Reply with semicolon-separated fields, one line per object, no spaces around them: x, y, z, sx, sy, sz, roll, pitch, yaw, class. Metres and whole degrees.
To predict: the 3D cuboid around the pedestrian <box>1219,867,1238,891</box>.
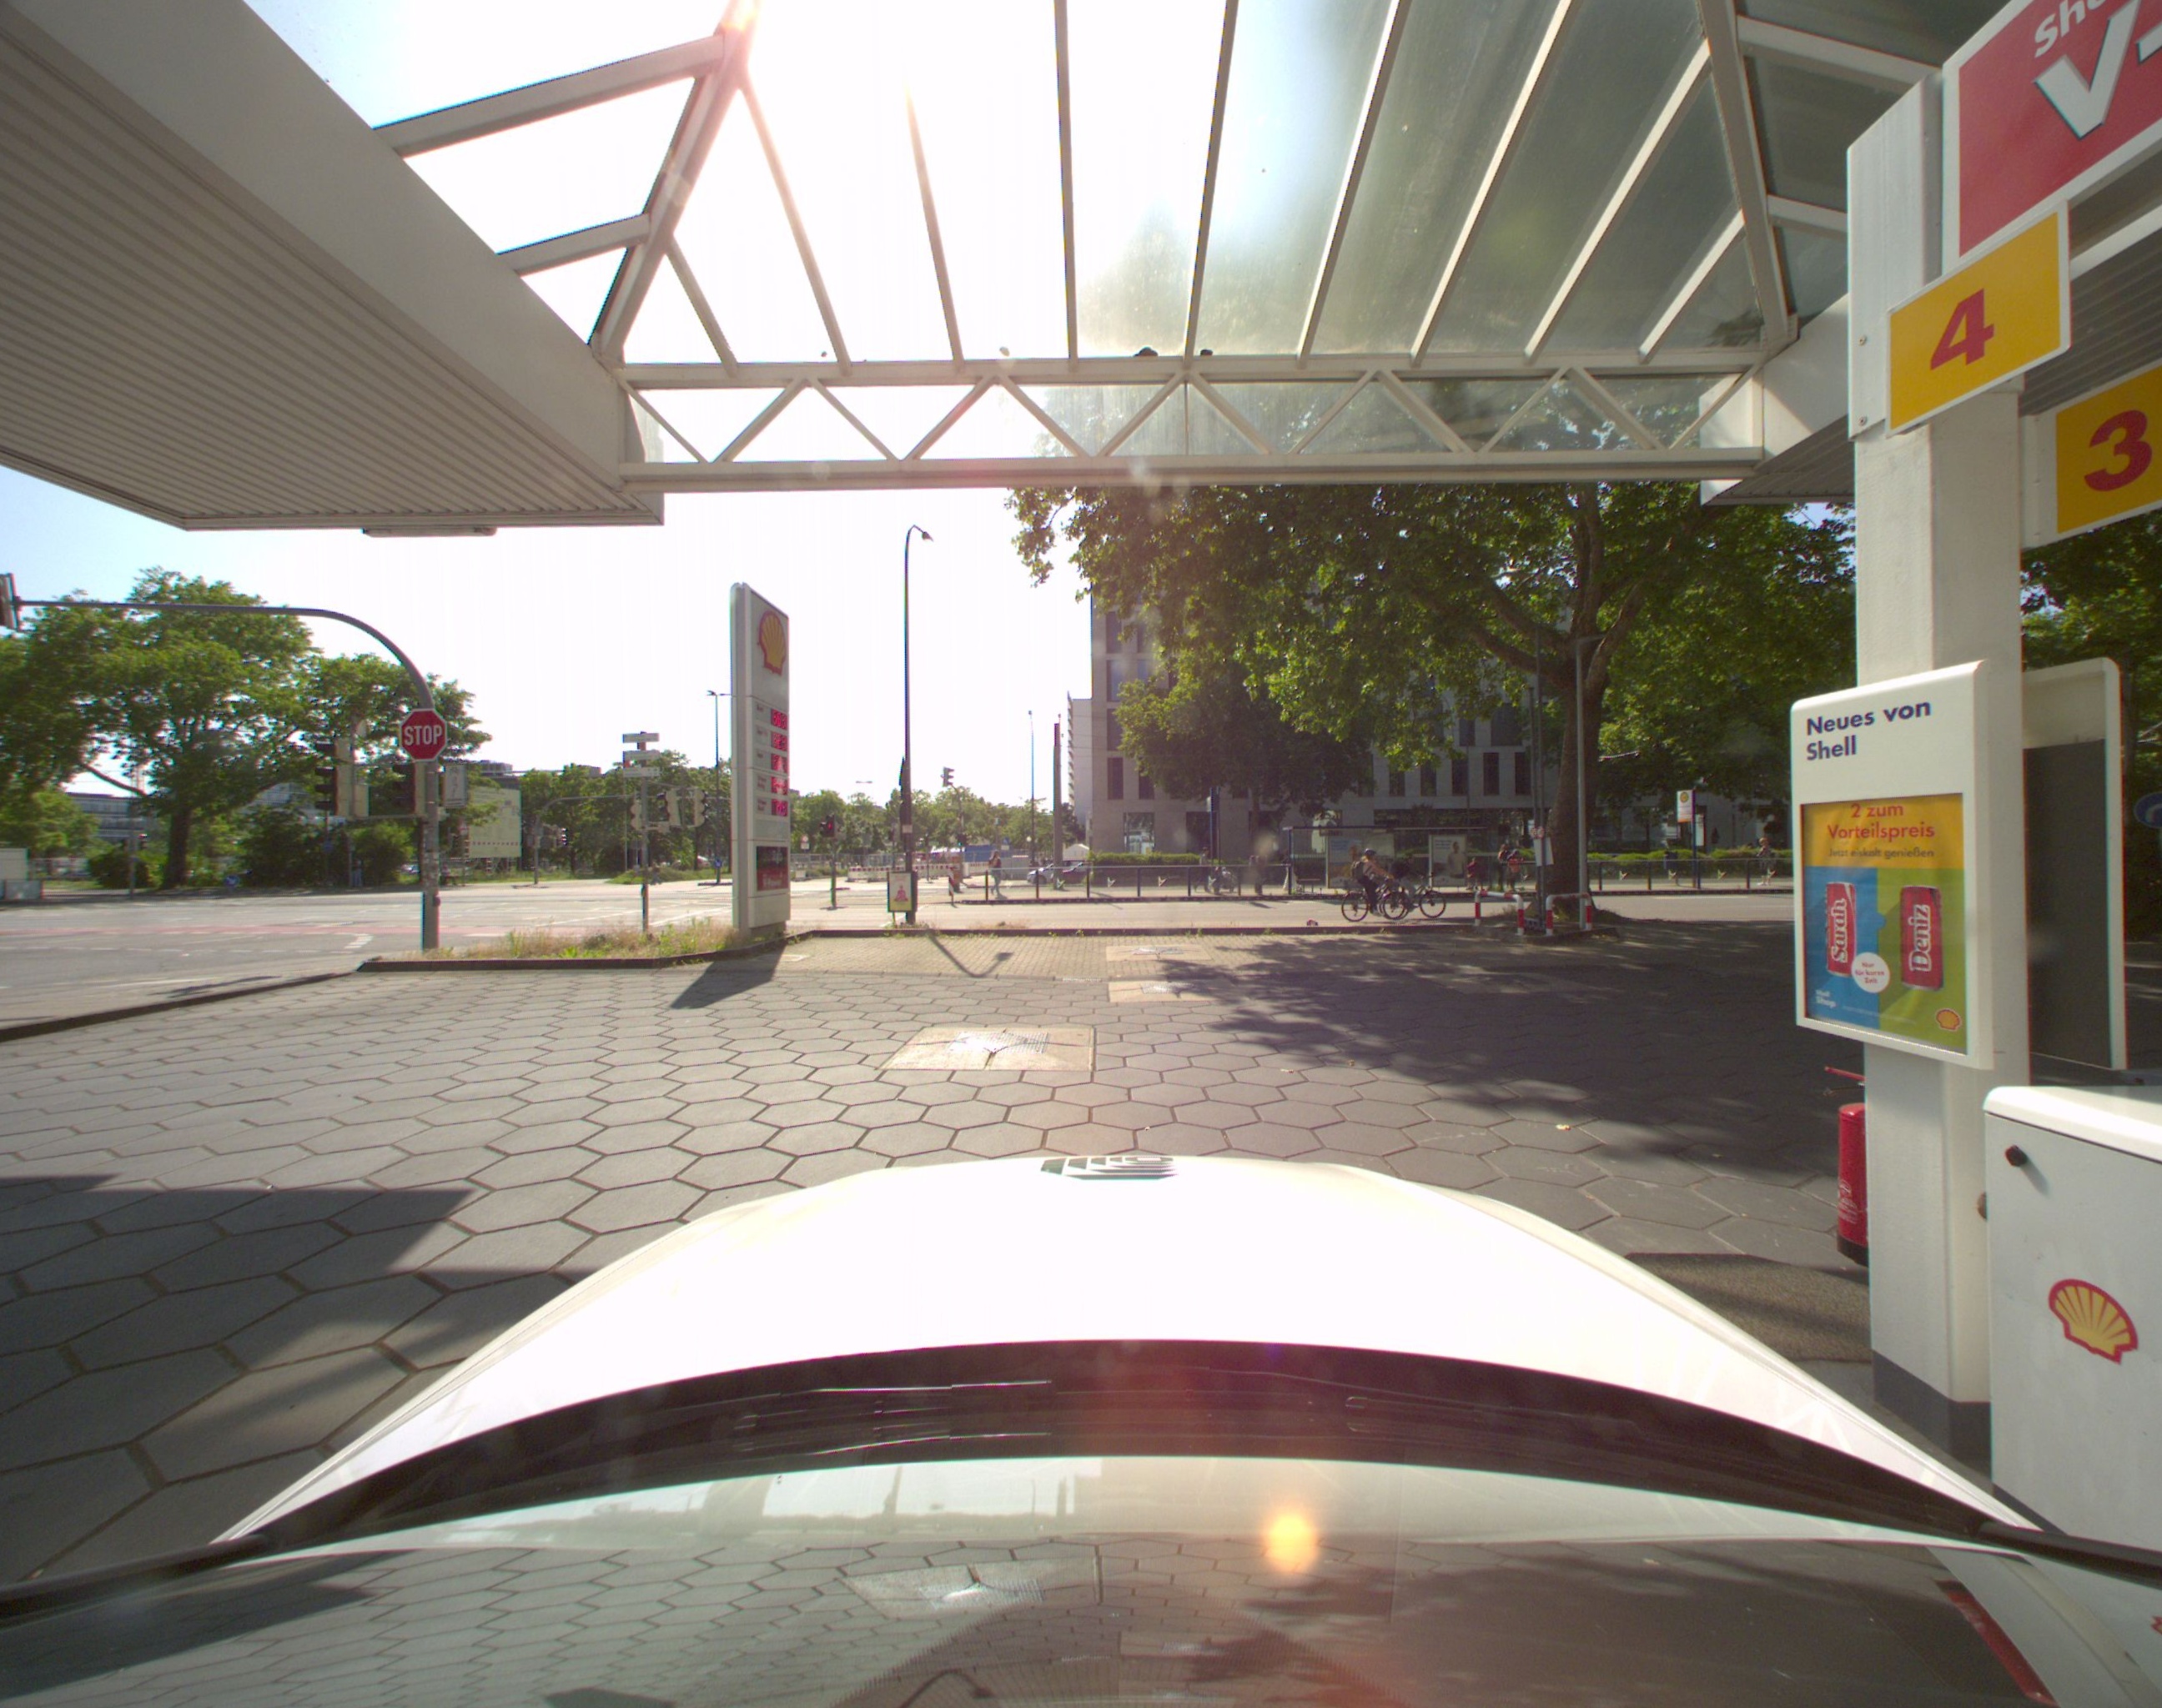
5.464;0.931;30.166;0.686;0.880;0.504;-1;0;10;pedestrian

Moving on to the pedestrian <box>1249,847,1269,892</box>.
6.343;0.543;29.023;0.582;1.591;0.670;-1;1;1;pedestrian

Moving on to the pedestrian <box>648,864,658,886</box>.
-29.663;1.445;56.444;0.566;1.469;0.509;-1;0;-24;pedestrian

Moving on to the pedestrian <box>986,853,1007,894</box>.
-3.149;0.723;30.450;0.646;1.540;0.504;-1;0;10;pedestrian

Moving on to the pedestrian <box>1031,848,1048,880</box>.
-2.908;0.684;57.757;1.104;2.248;1.103;-1;0;1;pedestrian

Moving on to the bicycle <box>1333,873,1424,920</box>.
7.222;1.027;19.805;2.018;1.082;0.638;-1;0;-8;bicycle

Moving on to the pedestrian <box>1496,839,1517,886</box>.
16.003;0.306;30.628;0.497;1.735;0.524;-1;0;4;pedestrian

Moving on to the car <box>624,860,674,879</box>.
-44.293;1.577;83.564;3.968;1.816;2.003;-3;-1;5;car

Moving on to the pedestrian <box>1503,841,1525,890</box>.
15.450;0.413;29.084;0.497;1.735;0.524;-1;0;4;pedestrian

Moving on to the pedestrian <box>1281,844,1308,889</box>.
8.037;0.477;30.676;0.926;1.683;0.504;-1;0;10;pedestrian

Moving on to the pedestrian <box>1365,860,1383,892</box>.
10.501;0.791;29.173;0.496;1.138;0.525;-1;0;7;pedestrian

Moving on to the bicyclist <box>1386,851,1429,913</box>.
8.328;0.710;20.776;0.860;1.544;0.535;0;-1;0;bicyclist

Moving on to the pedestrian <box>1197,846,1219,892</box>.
4.738;0.545;30.289;0.772;1.683;0.504;-1;0;10;pedestrian

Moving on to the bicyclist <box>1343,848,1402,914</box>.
7.082;0.644;19.796;1.169;1.580;0.638;-1;0;-8;bicyclist

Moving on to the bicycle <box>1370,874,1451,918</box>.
8.386;1.062;20.738;1.855;1.082;0.525;-1;0;0;bicycle

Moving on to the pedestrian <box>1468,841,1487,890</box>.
14.262;0.400;29.297;0.497;1.735;0.407;-1;0;4;pedestrian

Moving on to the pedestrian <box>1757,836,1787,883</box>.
25.657;0.206;30.259;0.688;1.735;0.505;-1;0;17;pedestrian

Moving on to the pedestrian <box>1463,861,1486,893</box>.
14.114;0.811;29.213;0.625;1.138;0.525;-1;0;7;pedestrian

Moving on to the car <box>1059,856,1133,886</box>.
0.813;0.941;45.849;3.980;1.552;1.700;-1;0;-5;car

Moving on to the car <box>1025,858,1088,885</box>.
-1.506;1.028;48.847;3.675;1.552;1.589;-1;0;-5;car
